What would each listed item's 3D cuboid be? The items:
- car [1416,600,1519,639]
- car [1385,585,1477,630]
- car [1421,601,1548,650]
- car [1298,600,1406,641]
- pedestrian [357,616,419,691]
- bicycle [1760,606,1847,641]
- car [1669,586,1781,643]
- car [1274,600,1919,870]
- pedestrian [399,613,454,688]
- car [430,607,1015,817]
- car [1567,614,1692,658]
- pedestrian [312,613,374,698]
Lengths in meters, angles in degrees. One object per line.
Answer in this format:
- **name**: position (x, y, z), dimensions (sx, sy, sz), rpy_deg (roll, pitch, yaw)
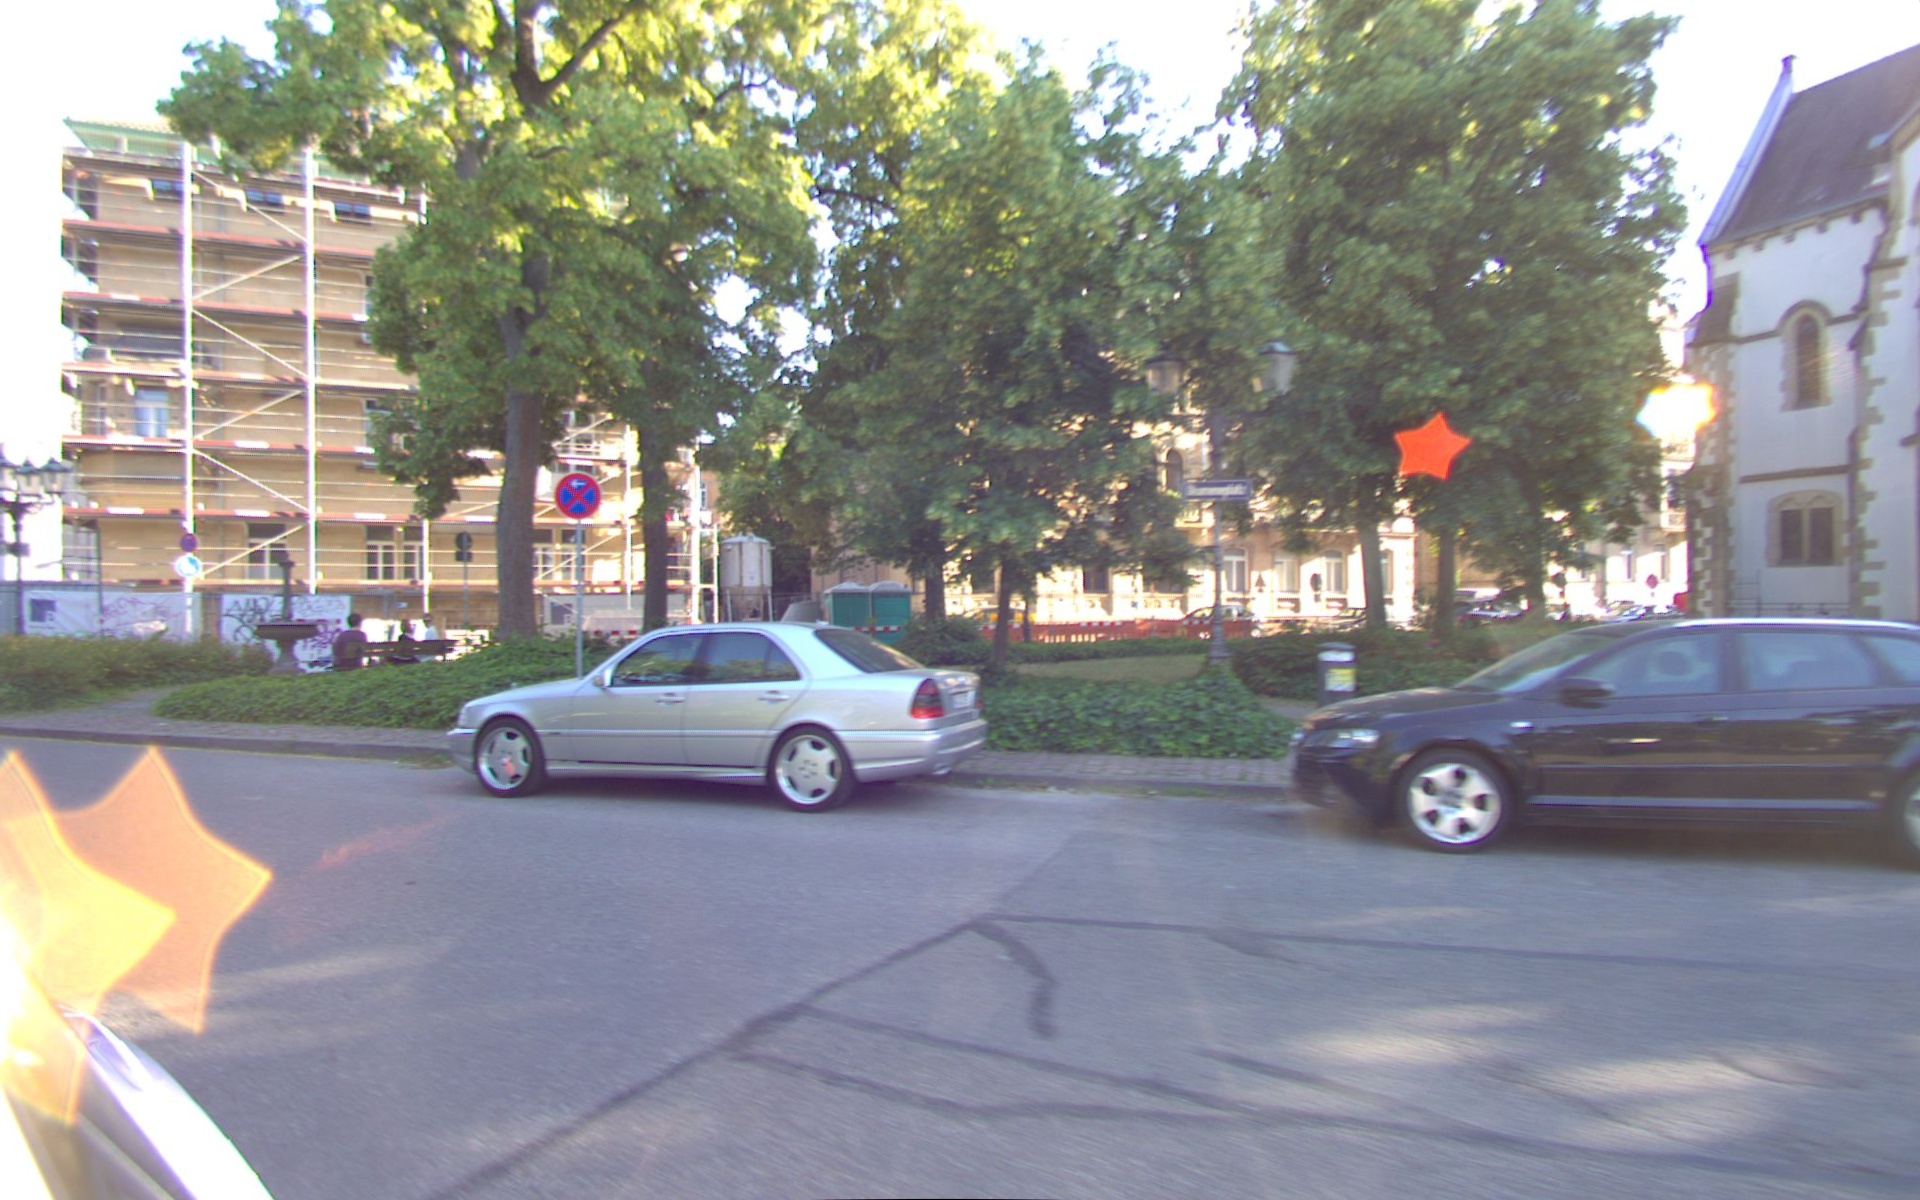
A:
- **car**: position (23.155, 0.867, 46.187), dimensions (4.147, 1.668, 2.007), rpy_deg (0, -1, -23)
- **car**: position (24.838, 0.427, 53.499), dimensions (1.859, 2.278, 4.234), rpy_deg (0, -1, -23)
- **car**: position (19.089, 0.898, 36.848), dimensions (4.147, 1.668, 1.898), rpy_deg (0, -1, -24)
- **car**: position (17.090, 0.875, 44.180), dimensions (4.147, 1.668, 2.007), rpy_deg (0, -1, -23)
- **pedestrian**: position (-9.506, 0.882, 16.817), dimensions (0.880, 1.204, 0.547), rpy_deg (-1, -1, 30)
- **bicycle**: position (23.449, 0.636, 28.180), dimensions (0.416, 0.925, 1.890), rpy_deg (-1, 0, -20)
- **car**: position (31.858, 0.571, 42.132), dimensions (4.147, 2.278, 1.898), rpy_deg (0, -1, -24)
- **car**: position (4.424, 0.768, 6.504), dimensions (4.451, 1.426, 1.822), rpy_deg (-1, -3, 14)
- **pedestrian**: position (-9.093, 0.853, 17.254), dimensions (0.722, 1.242, 0.547), rpy_deg (-1, -1, 30)
- **car**: position (-1.910, 0.834, 8.398), dimensions (4.459, 1.426, 1.775), rpy_deg (-1, -3, 17)
- **car**: position (26.381, 1.388, 39.913), dimensions (4.148, 1.668, 1.897), rpy_deg (0, -1, -17)
- **pedestrian**: position (-9.751, 0.860, 15.996), dimensions (0.763, 1.308, 0.547), rpy_deg (-1, -1, 30)
